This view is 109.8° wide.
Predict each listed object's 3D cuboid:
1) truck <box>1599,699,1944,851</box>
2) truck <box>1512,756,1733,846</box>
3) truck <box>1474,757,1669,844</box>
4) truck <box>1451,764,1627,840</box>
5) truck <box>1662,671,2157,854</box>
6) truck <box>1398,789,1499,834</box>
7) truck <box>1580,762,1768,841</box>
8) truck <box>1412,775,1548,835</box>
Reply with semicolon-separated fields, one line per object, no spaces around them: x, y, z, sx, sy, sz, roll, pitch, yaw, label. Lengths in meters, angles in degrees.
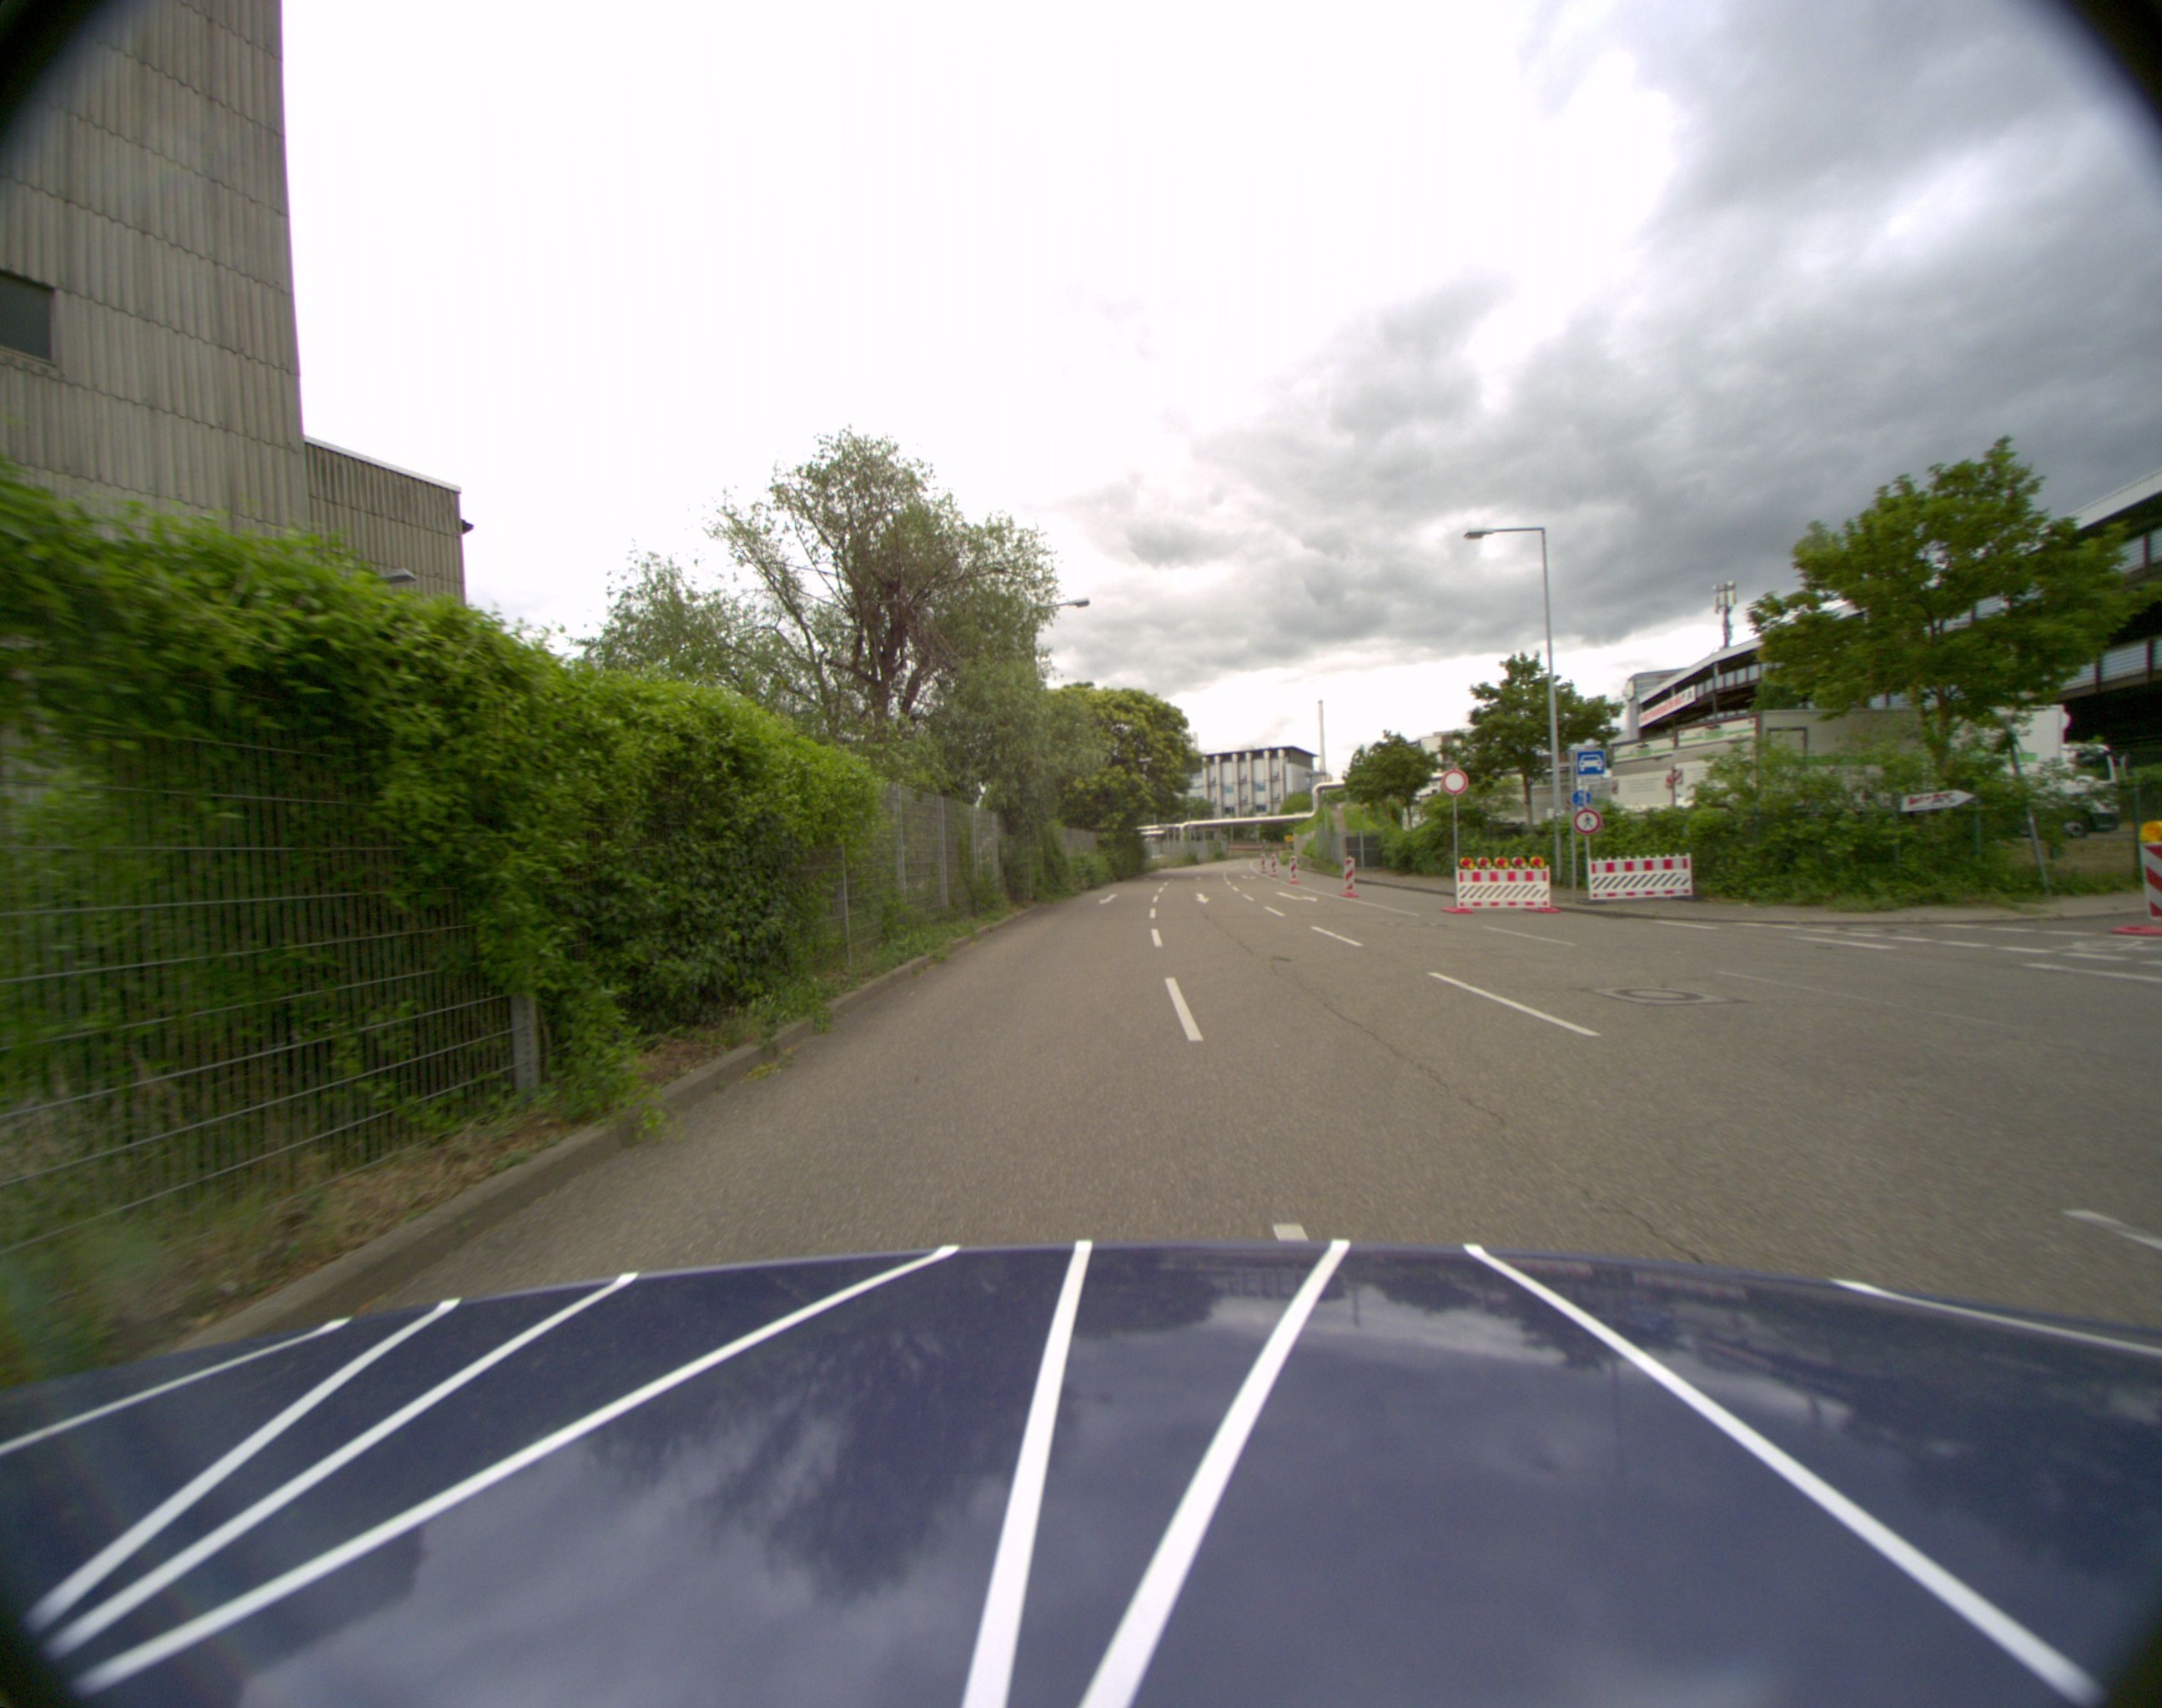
20.727;-2.284;23.144;7.862;3.969;3.051;-3;2;-2;truck
21.917;-2.130;30.797;7.871;3.232;3.047;-3;2;-16;truck
22.333;-2.434;34.639;7.871;3.519;3.047;-3;2;-16;truck
23.627;-2.666;39.264;7.869;3.519;3.048;-3;2;-13;truck
21.219;-2.250;19.889;9.645;3.969;3.051;-3;2;0;truck
31.768;-3.690;65.656;7.872;3.519;3.047;-3;2;-18;truck
20.474;-1.783;26.415;4.698;2.392;2.196;-3;2;5;truck
26.210;-3.193;49.970;8.160;3.519;3.047;-3;2;-18;truck
